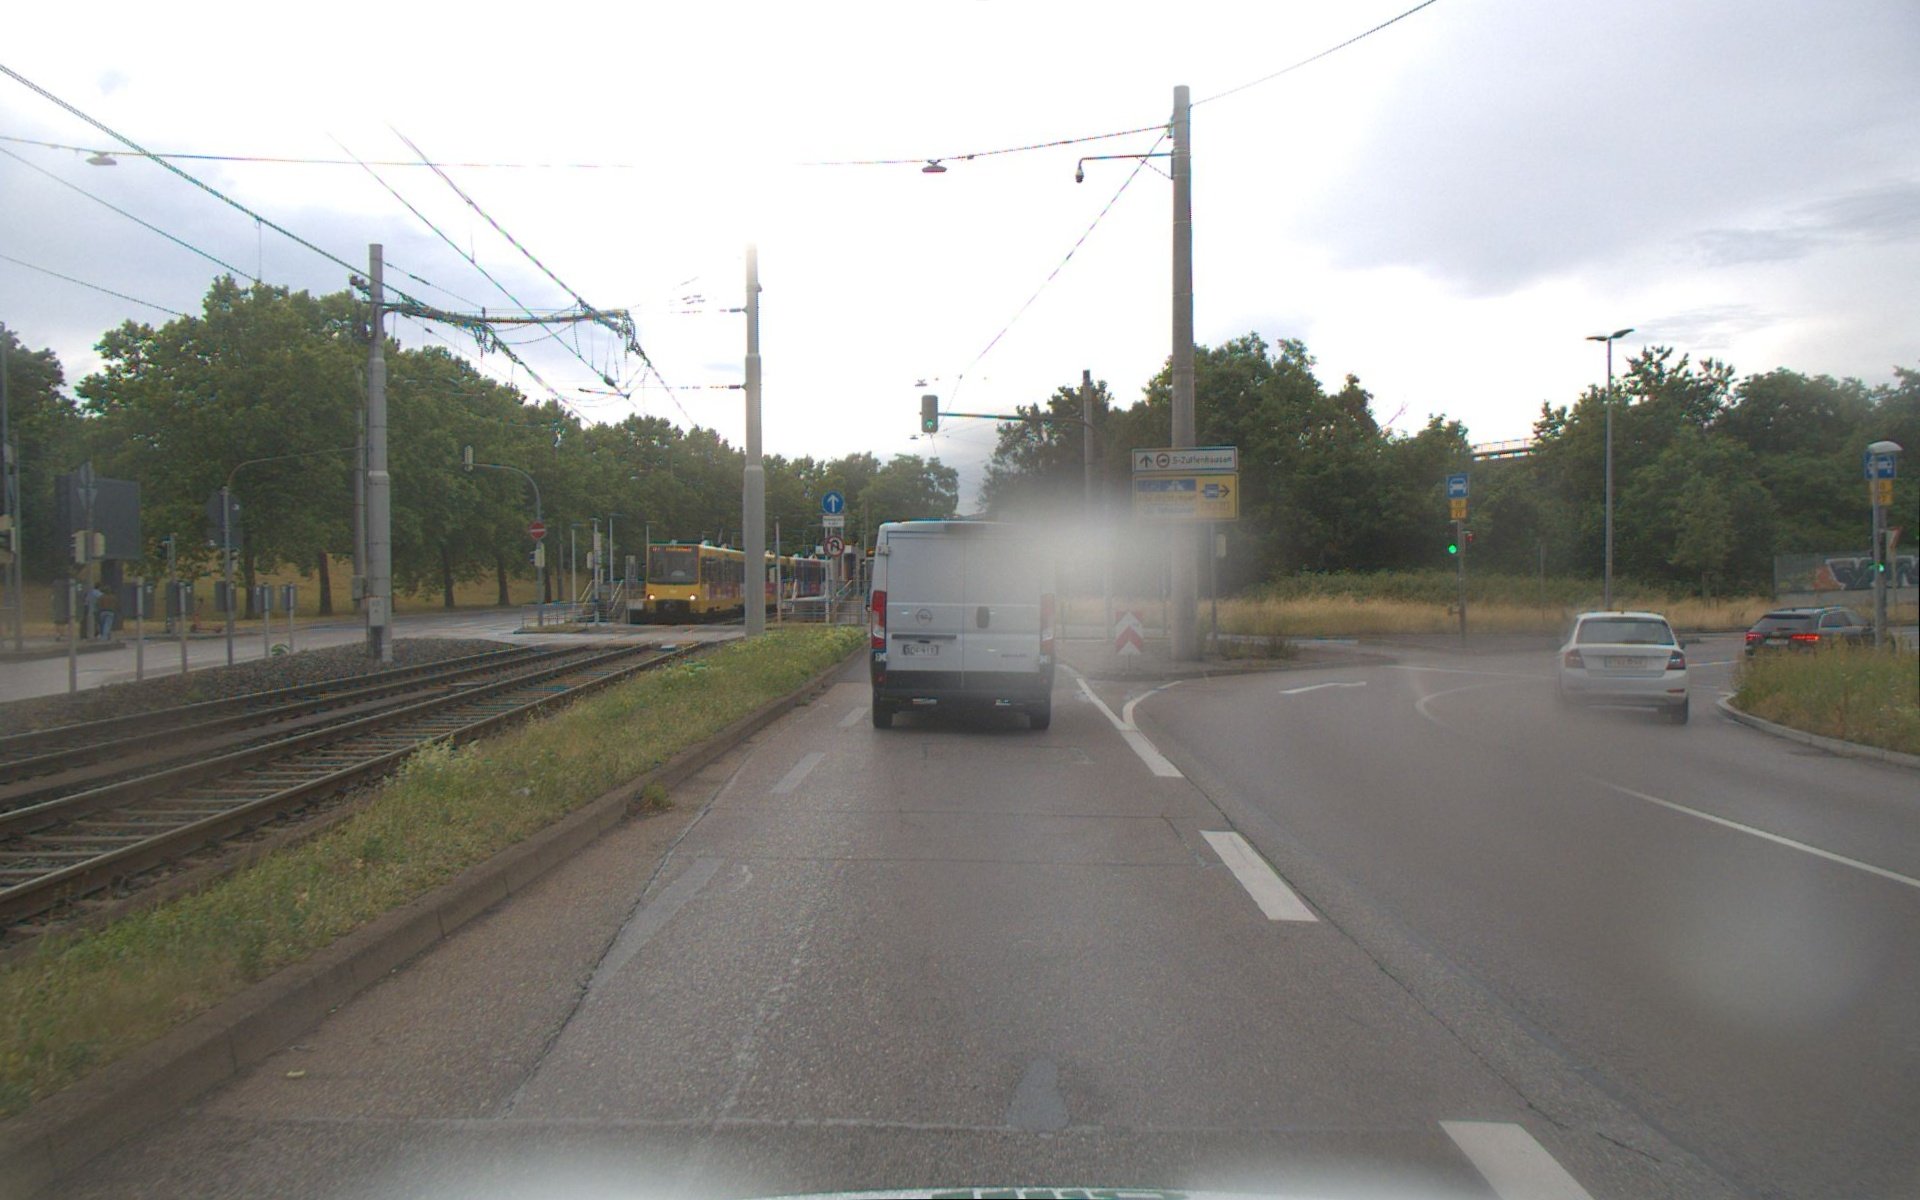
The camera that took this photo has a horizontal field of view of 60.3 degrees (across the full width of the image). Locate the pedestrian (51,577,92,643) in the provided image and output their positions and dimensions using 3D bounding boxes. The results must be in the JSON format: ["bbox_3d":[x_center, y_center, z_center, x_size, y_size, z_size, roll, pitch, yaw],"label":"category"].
[{"bbox_3d":[-28.007,0.296,52.155,0.870,2.049,0.864,-1,0,-8],"label":"pedestrian"}]

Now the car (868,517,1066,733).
[{"bbox_3d":[-0.059,0.243,19.849,2.049,2.235,5.058,1,0,-3],"label":"car"}]

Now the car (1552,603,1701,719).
[{"bbox_3d":[9.400,0.811,23.550,1.710,1.483,3.672,1,0,18],"label":"car"}]

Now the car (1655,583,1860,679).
[{"bbox_3d":[18.231,0.673,37.859,3.927,1.560,1.903,-8,4,-17],"label":"car"}]

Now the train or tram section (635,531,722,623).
[{"bbox_3d":[-12.938,-1.049,76.504,2.869,4.001,7.003,2,0,-1],"label":"train or tram section"}]

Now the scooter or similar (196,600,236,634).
[{"bbox_3d":[-27.160,0.610,60.401,0.373,1.182,1.272,0,1,41],"label":"scooter or similar"}]

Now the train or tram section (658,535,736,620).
[{"bbox_3d":[-13.093,-1.099,82.882,2.869,4.001,7.003,2,0,-1],"label":"train or tram section"}]

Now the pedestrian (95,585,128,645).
[{"bbox_3d":[-25.864,0.449,50.430,0.496,1.818,0.832,2,0,1],"label":"pedestrian"}]

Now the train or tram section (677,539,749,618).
[{"bbox_3d":[-13.238,-1.147,89.125,2.869,4.001,7.003,2,0,-1],"label":"train or tram section"}]

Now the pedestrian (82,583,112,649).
[{"bbox_3d":[-26.349,0.471,50.527,0.485,1.989,0.722,2,0,1],"label":"pedestrian"}]
